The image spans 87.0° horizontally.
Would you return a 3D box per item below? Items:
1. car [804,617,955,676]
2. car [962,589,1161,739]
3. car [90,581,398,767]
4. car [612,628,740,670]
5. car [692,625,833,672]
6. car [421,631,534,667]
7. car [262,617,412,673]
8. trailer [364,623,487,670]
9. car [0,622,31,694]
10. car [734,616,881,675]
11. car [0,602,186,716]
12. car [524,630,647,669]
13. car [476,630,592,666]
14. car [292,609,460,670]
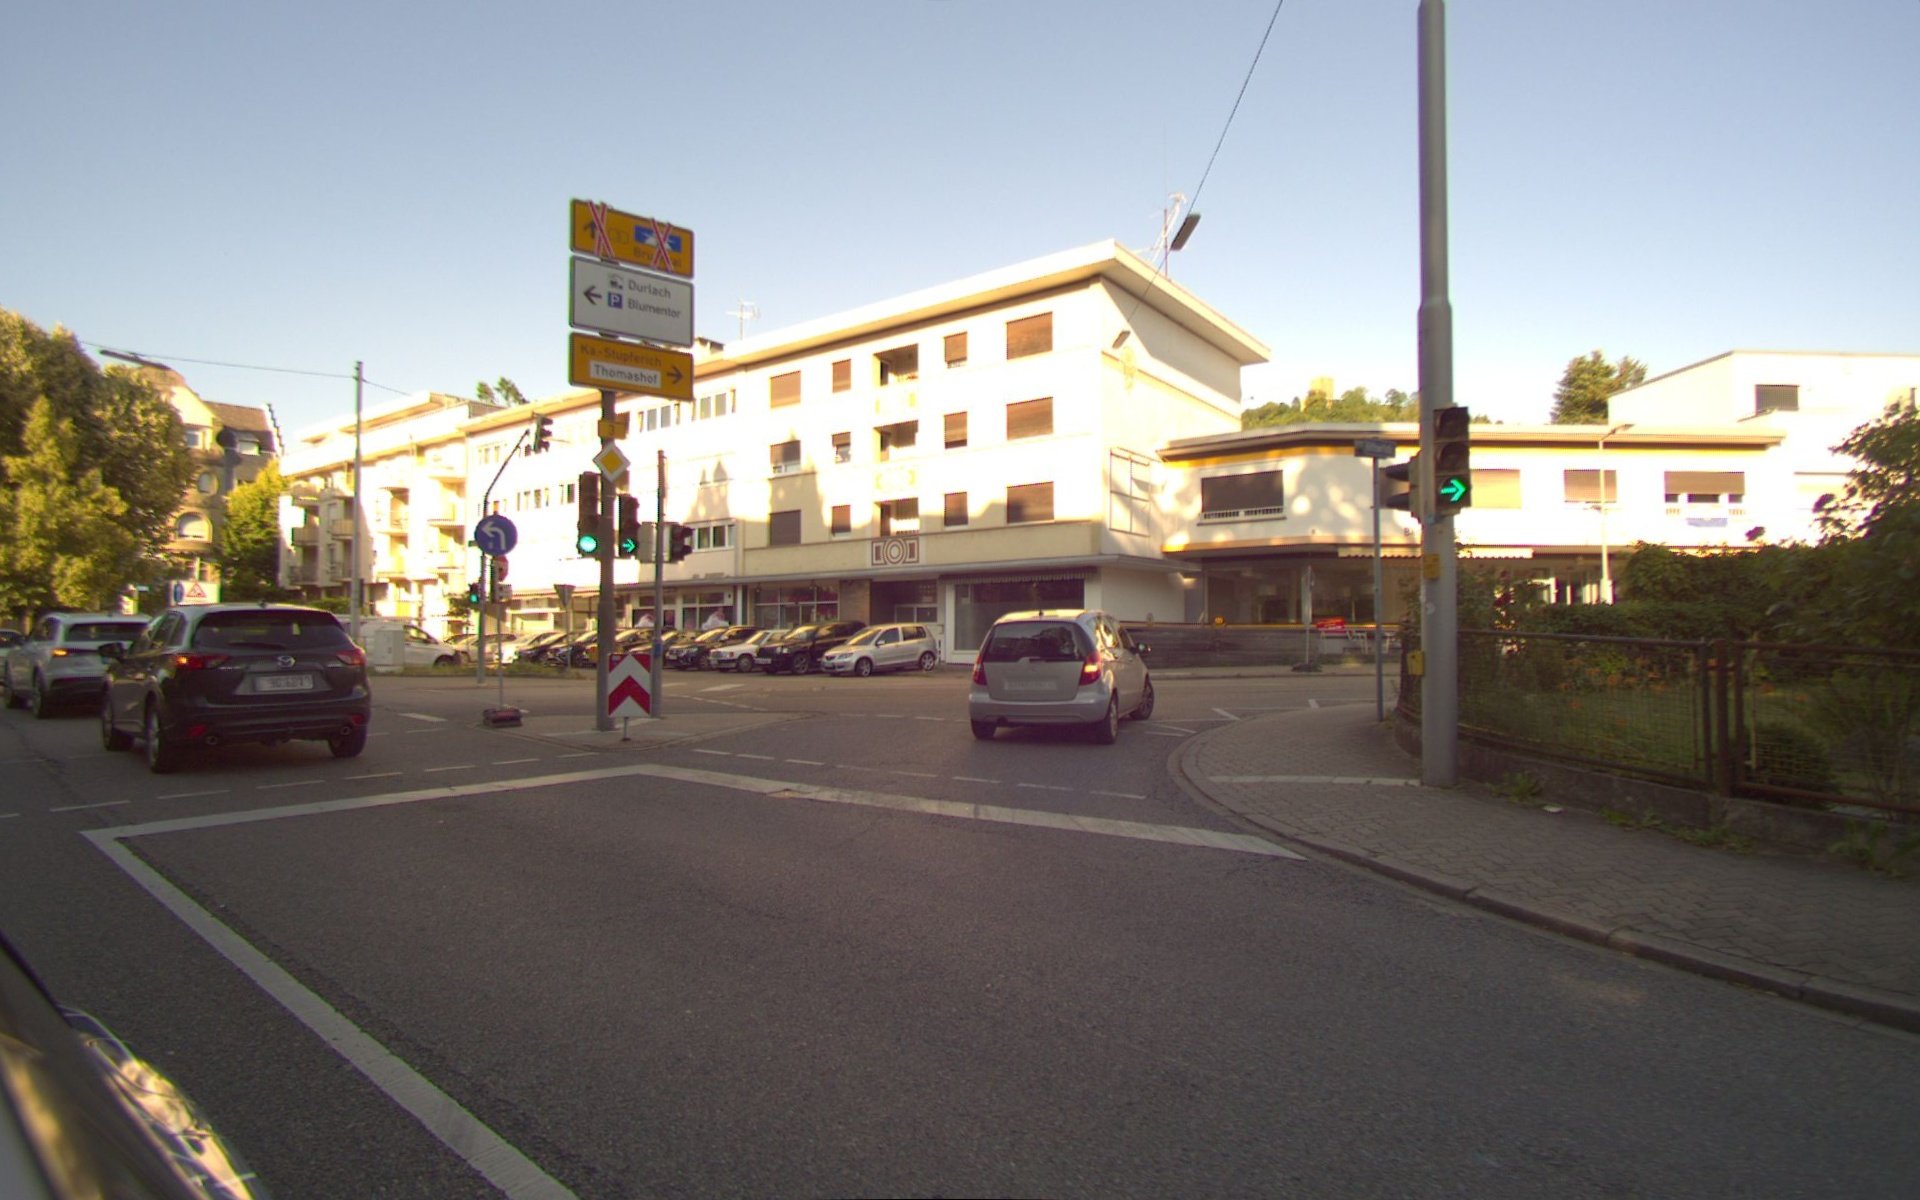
[{"bbox_3d":[-2.472,1.418,31.535,4.258,1.623,2.004,-1,-2,-38],"label":"car"},{"bbox_3d":[1.530,0.774,13.533,1.942,1.661,4.262,-2,-1,15],"label":"car"},{"bbox_3d":[-8.062,0.742,11.229,4.282,1.661,1.932,-3,-2,42],"label":"car"},{"bbox_3d":[-10.663,1.809,38.198,1.999,1.409,4.269,-3,-2,40],"label":"car"},{"bbox_3d":[-6.716,1.638,34.612,4.258,1.409,2.004,-1,-2,-38],"label":"car"},{"bbox_3d":[-22.240,2.238,46.715,1.999,1.522,4.269,-3,-2,40],"label":"car"},{"bbox_3d":[-22.633,1.605,36.866,1.999,1.866,4.268,-3,-2,41],"label":"car"},{"bbox_3d":[-17.508,1.494,33.237,1.571,1.407,3.224,-3,-2,36],"label":"trailer"},{"bbox_3d":[-21.778,1.281,21.843,4.087,1.491,1.760,-3,-2,36],"label":"car"},{"bbox_3d":[-4.901,1.445,32.792,4.258,1.728,2.004,-1,-2,-38],"label":"car"},{"bbox_3d":[-14.601,0.950,16.884,4.530,1.661,1.757,-3,-2,40],"label":"car"},{"bbox_3d":[-15.174,1.988,41.197,1.999,1.409,4.269,-3,-2,40],"label":"car"},{"bbox_3d":[-18.636,2.076,44.395,1.999,1.409,4.269,-3,-2,40],"label":"car"},{"bbox_3d":[-20.220,1.334,35.206,2.113,1.980,4.625,-3,-2,36],"label":"car"}]
